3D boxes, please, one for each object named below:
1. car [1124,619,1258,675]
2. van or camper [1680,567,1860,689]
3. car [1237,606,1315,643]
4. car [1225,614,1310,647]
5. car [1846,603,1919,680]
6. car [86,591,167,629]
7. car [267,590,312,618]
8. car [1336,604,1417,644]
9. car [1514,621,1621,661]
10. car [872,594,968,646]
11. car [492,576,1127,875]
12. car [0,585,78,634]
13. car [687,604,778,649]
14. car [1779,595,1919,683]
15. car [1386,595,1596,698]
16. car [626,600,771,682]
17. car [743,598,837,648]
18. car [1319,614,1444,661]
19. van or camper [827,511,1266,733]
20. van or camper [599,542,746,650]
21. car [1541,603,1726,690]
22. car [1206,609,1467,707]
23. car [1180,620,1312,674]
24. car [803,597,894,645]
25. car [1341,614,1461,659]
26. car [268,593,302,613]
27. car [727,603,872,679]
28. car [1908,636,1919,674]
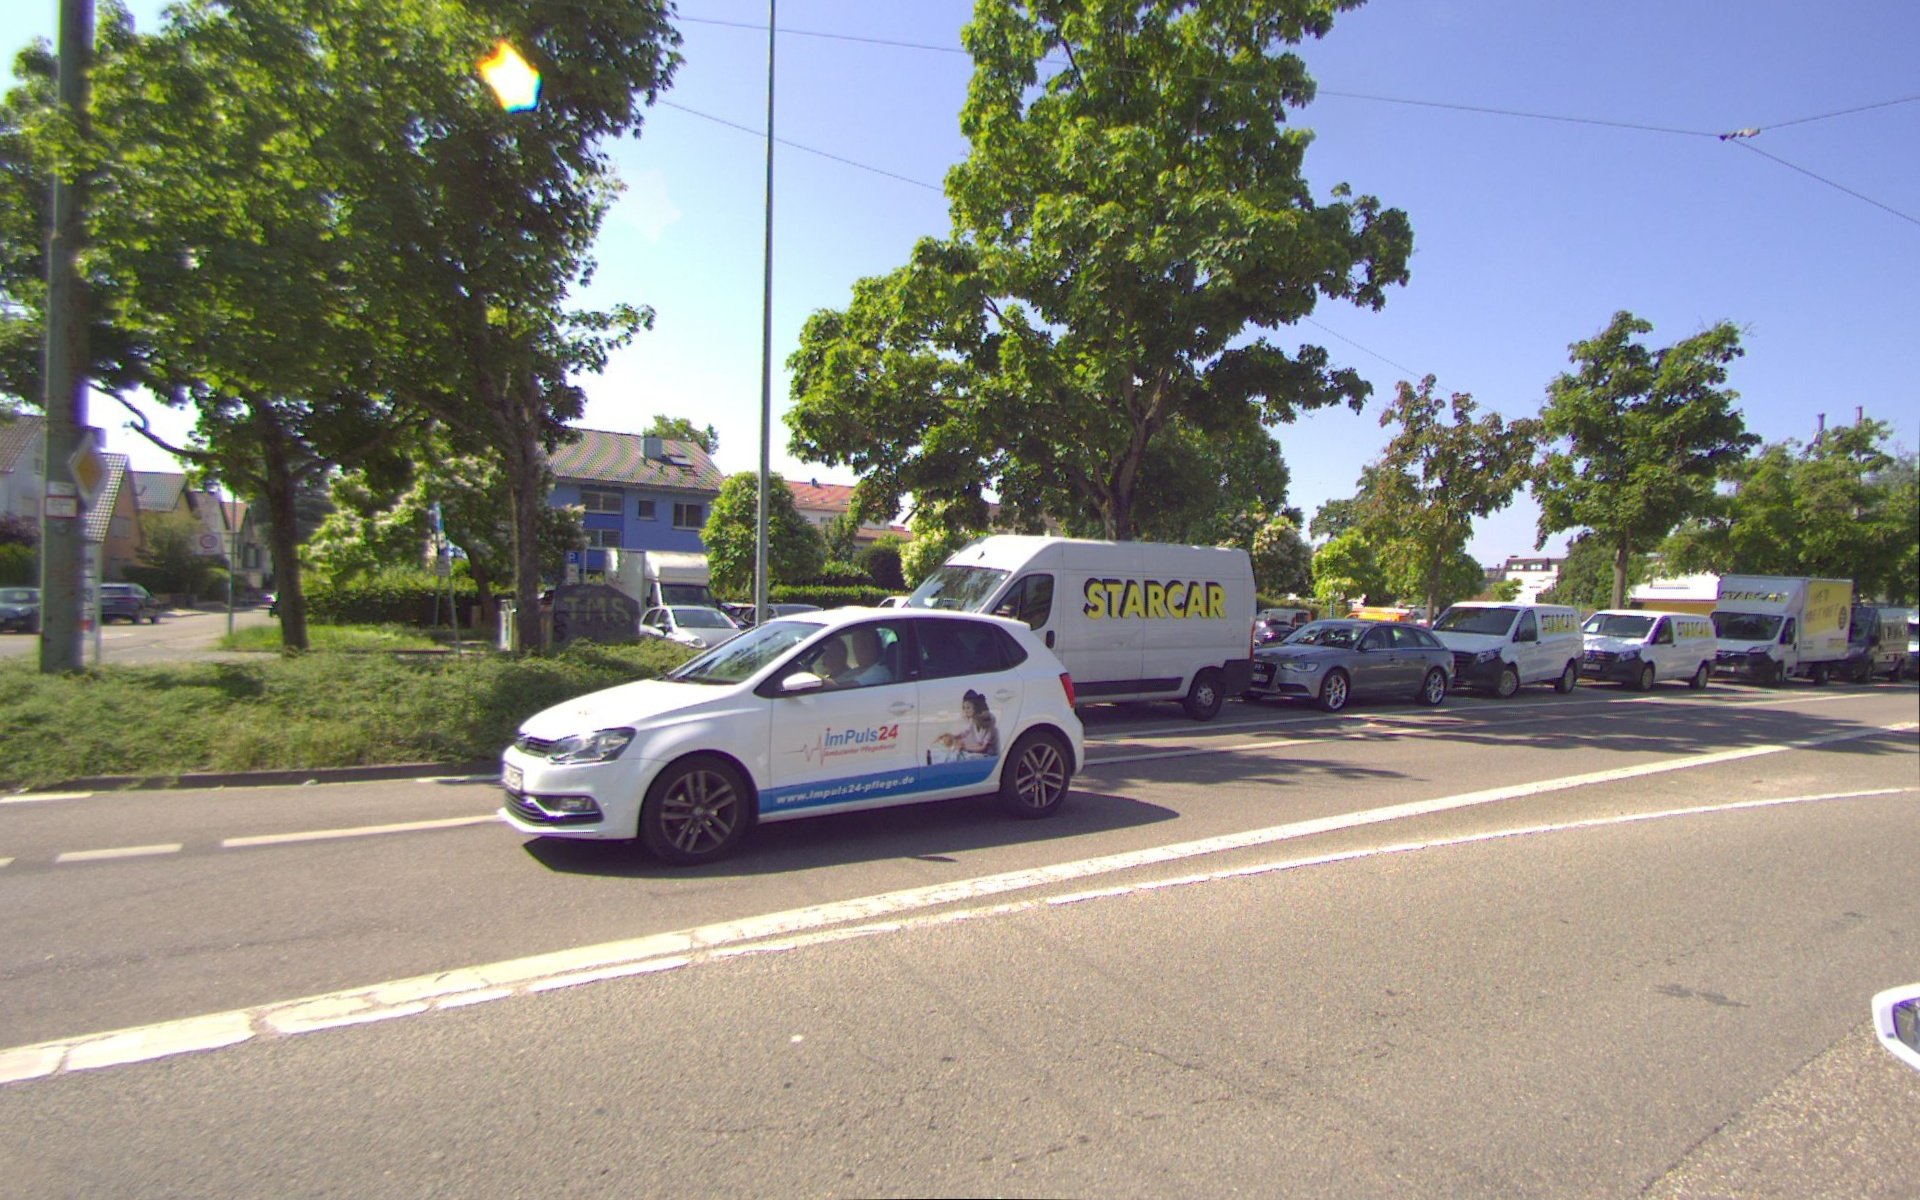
[{"bbox_3d":[7.069,1.408,31.075,1.647,1.564,3.961,2,-1,-35],"label":"car"},{"bbox_3d":[24.183,0.816,29.883,6.702,3.284,2.182,2,2,-34],"label":"van or camper"},{"bbox_3d":[18.436,1.427,58.740,1.894,2.030,3.956,2,-1,-38],"label":"car"},{"bbox_3d":[15.949,1.557,52.257,1.770,1.564,3.956,2,-1,-38],"label":"car"},{"bbox_3d":[36.305,1.559,38.437,5.919,2.666,2.181,2,2,-35],"label":"car"},{"bbox_3d":[-34.390,0.404,41.545,1.743,1.476,3.971,2,-1,-28],"label":"car"},{"bbox_3d":[-38.398,0.240,57.581,1.978,1.506,3.965,2,-1,-32],"label":"car"},{"bbox_3d":[24.385,1.398,58.881,1.894,2.229,3.956,2,-1,-38],"label":"car"},{"bbox_3d":[28.434,1.881,47.109,1.648,1.716,3.959,2,-1,-36],"label":"car"},{"bbox_3d":[-1.622,0.762,39.528,1.770,1.916,3.956,2,-1,-38],"label":"car"},{"bbox_3d":[-0.876,0.690,6.870,3.961,1.484,1.716,2,-2,-36],"label":"car"},{"bbox_3d":[-29.881,0.286,32.020,1.743,1.476,3.971,2,-1,-28],"label":"car"},{"bbox_3d":[-8.161,0.911,35.769,1.687,1.455,3.957,2,-1,-37],"label":"car"},{"bbox_3d":[30.554,1.314,34.459,6.019,2.704,2.181,2,2,-35],"label":"car"},{"bbox_3d":[11.540,0.942,21.674,5.141,1.966,2.178,2,-1,-39],"label":"car"},{"bbox_3d":[-5.689,0.818,21.544,1.648,1.564,3.959,2,-1,-36],"label":"car"},{"bbox_3d":[-6.375,0.825,37.396,1.770,1.751,3.956,2,-1,-38],"label":"car"},{"bbox_3d":[15.287,1.327,36.594,1.647,1.564,3.961,2,-1,-35],"label":"car"},{"bbox_3d":[1.388,0.328,14.150,6.083,2.548,2.243,2,-1,-34],"label":"van or camper"},{"bbox_3d":[-9.963,-0.116,34.313,2.558,3.288,6.900,2,0,-36],"label":"van or camper"},{"bbox_3d":[17.088,1.140,25.413,5.133,1.966,2.181,2,-1,-35],"label":"car"},{"bbox_3d":[6.673,0.954,17.582,4.838,1.474,1.919,2,-1,-36],"label":"car"},{"bbox_3d":[9.188,1.479,32.525,1.647,1.564,3.961,2,-1,-35],"label":"car"},{"bbox_3d":[-4.376,0.806,39.028,1.720,1.751,3.956,2,-1,-38],"label":"car"},{"bbox_3d":[16.853,1.370,38.563,1.647,1.564,3.961,2,-1,-35],"label":"car"},{"bbox_3d":[-55.318,0.261,82.372,1.720,1.550,3.890,2,-1,-26],"label":"car"},{"bbox_3d":[-3.756,0.892,23.031,1.648,1.564,3.959,2,-1,-36],"label":"car"},{"bbox_3d":[41.087,2.329,42.031,3.640,1.510,1.283,2,2,-35],"label":"car"}]
